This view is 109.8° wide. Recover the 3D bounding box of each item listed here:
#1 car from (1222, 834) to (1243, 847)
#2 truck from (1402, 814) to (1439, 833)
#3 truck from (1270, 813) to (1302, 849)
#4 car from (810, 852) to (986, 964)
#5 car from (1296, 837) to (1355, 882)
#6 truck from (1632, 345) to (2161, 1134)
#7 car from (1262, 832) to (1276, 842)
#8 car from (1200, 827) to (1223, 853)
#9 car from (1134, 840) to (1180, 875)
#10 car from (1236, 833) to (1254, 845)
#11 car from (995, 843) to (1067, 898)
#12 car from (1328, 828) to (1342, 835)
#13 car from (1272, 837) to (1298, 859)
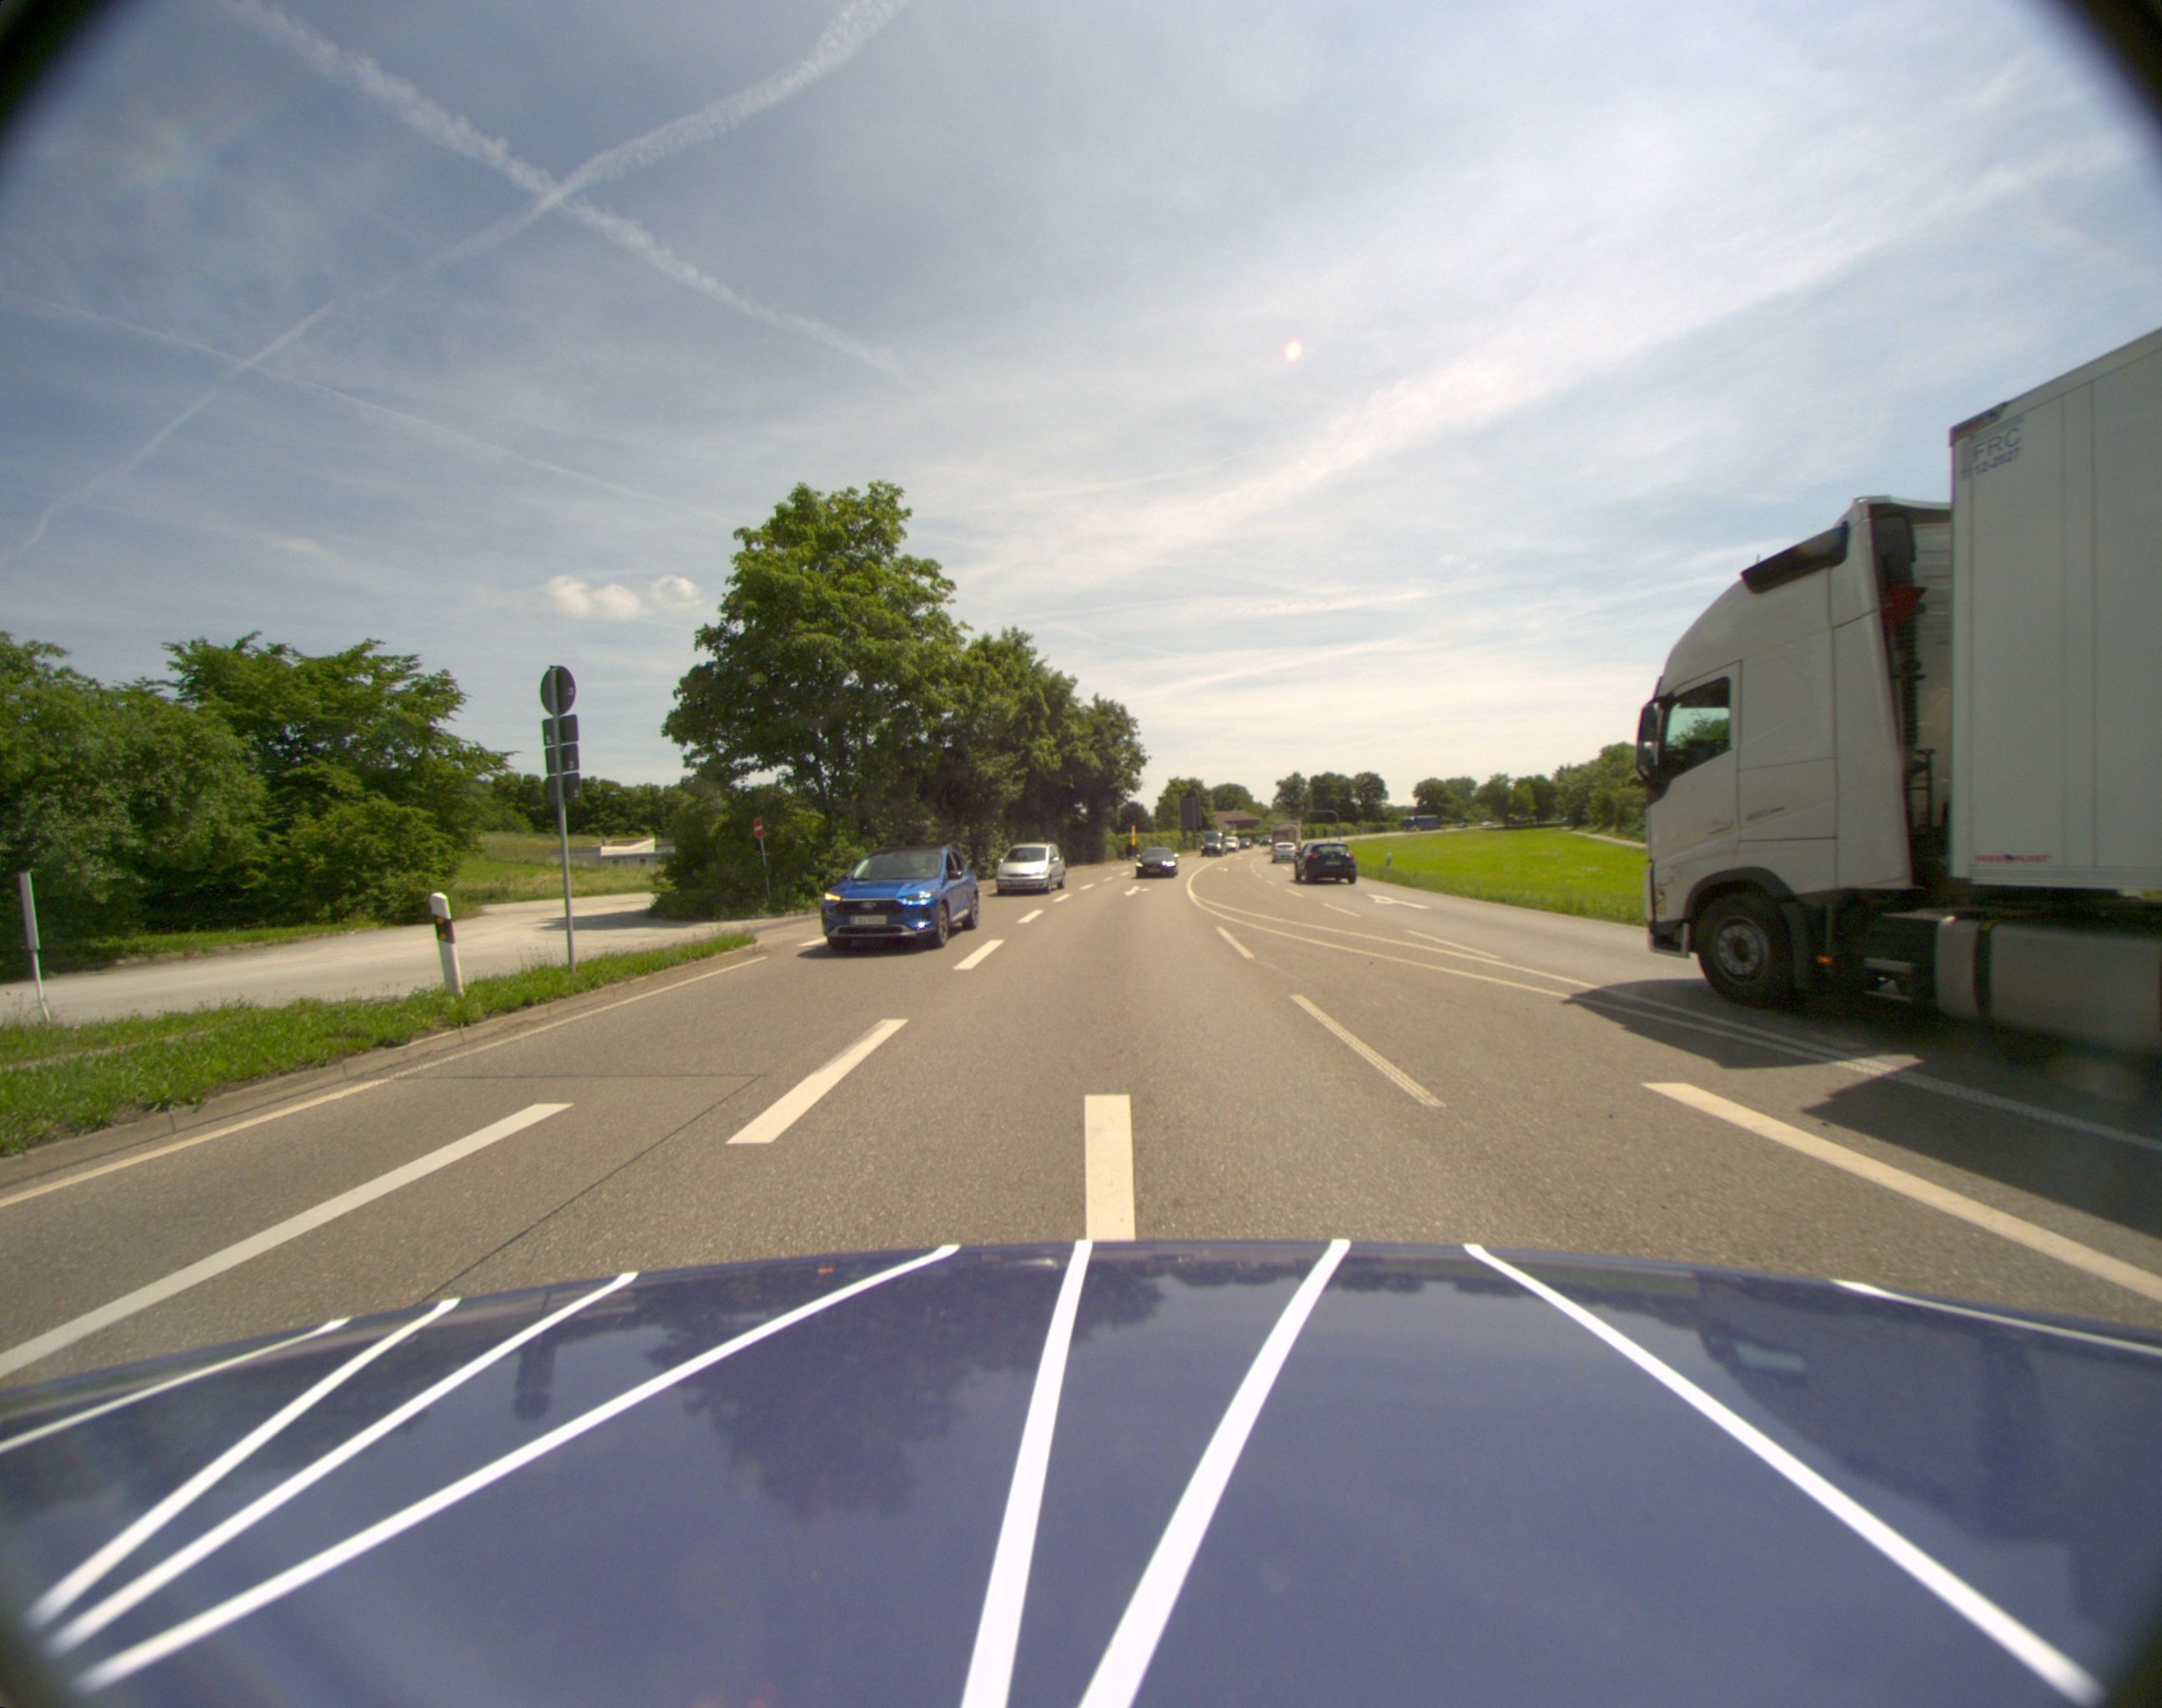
[{"bbox_3d":[17.903,-1.582,89.623,1.780,1.484,4.162,-1,1,19],"label":"car"},{"bbox_3d":[91.209,-8.287,203.991,16.189,4.583,2.738,-3,2,-42],"label":"truck"},{"bbox_3d":[21.665,-2.454,80.165,2.972,3.550,6.905,-1,2,17],"label":"truck"},{"bbox_3d":[-2.984,0.797,13.432,1.783,1.550,4.388,-2,1,3],"label":"car"},{"bbox_3d":[9.118,0.157,28.559,1.619,1.550,4.002,-1,1,11],"label":"car"},{"bbox_3d":[6.801,-0.582,4.665,2.784,3.920,5.705,0,1,2],"label":"truck"},{"bbox_3d":[29.379,-2.611,118.798,1.780,1.484,4.162,-1,1,19],"label":"car"},{"bbox_3d":[12.925,-1.401,75.304,1.980,2.504,4.158,-1,1,6],"label":"car"},{"bbox_3d":[3.665,0.132,36.078,1.782,1.484,4.160,-2,0,10],"label":"car"},{"bbox_3d":[22.541,-2.064,104.343,1.780,1.484,4.162,-1,1,19],"label":"car"},{"bbox_3d":[-1.648,0.506,26.618,1.865,1.682,4.527,-2,1,4],"label":"car"},{"bbox_3d":[56.607,-4.941,169.102,1.779,1.484,4.165,-1,2,35],"label":"car"},{"bbox_3d":[14.762,-0.474,54.852,1.618,1.454,4.004,-1,1,18],"label":"car"}]
